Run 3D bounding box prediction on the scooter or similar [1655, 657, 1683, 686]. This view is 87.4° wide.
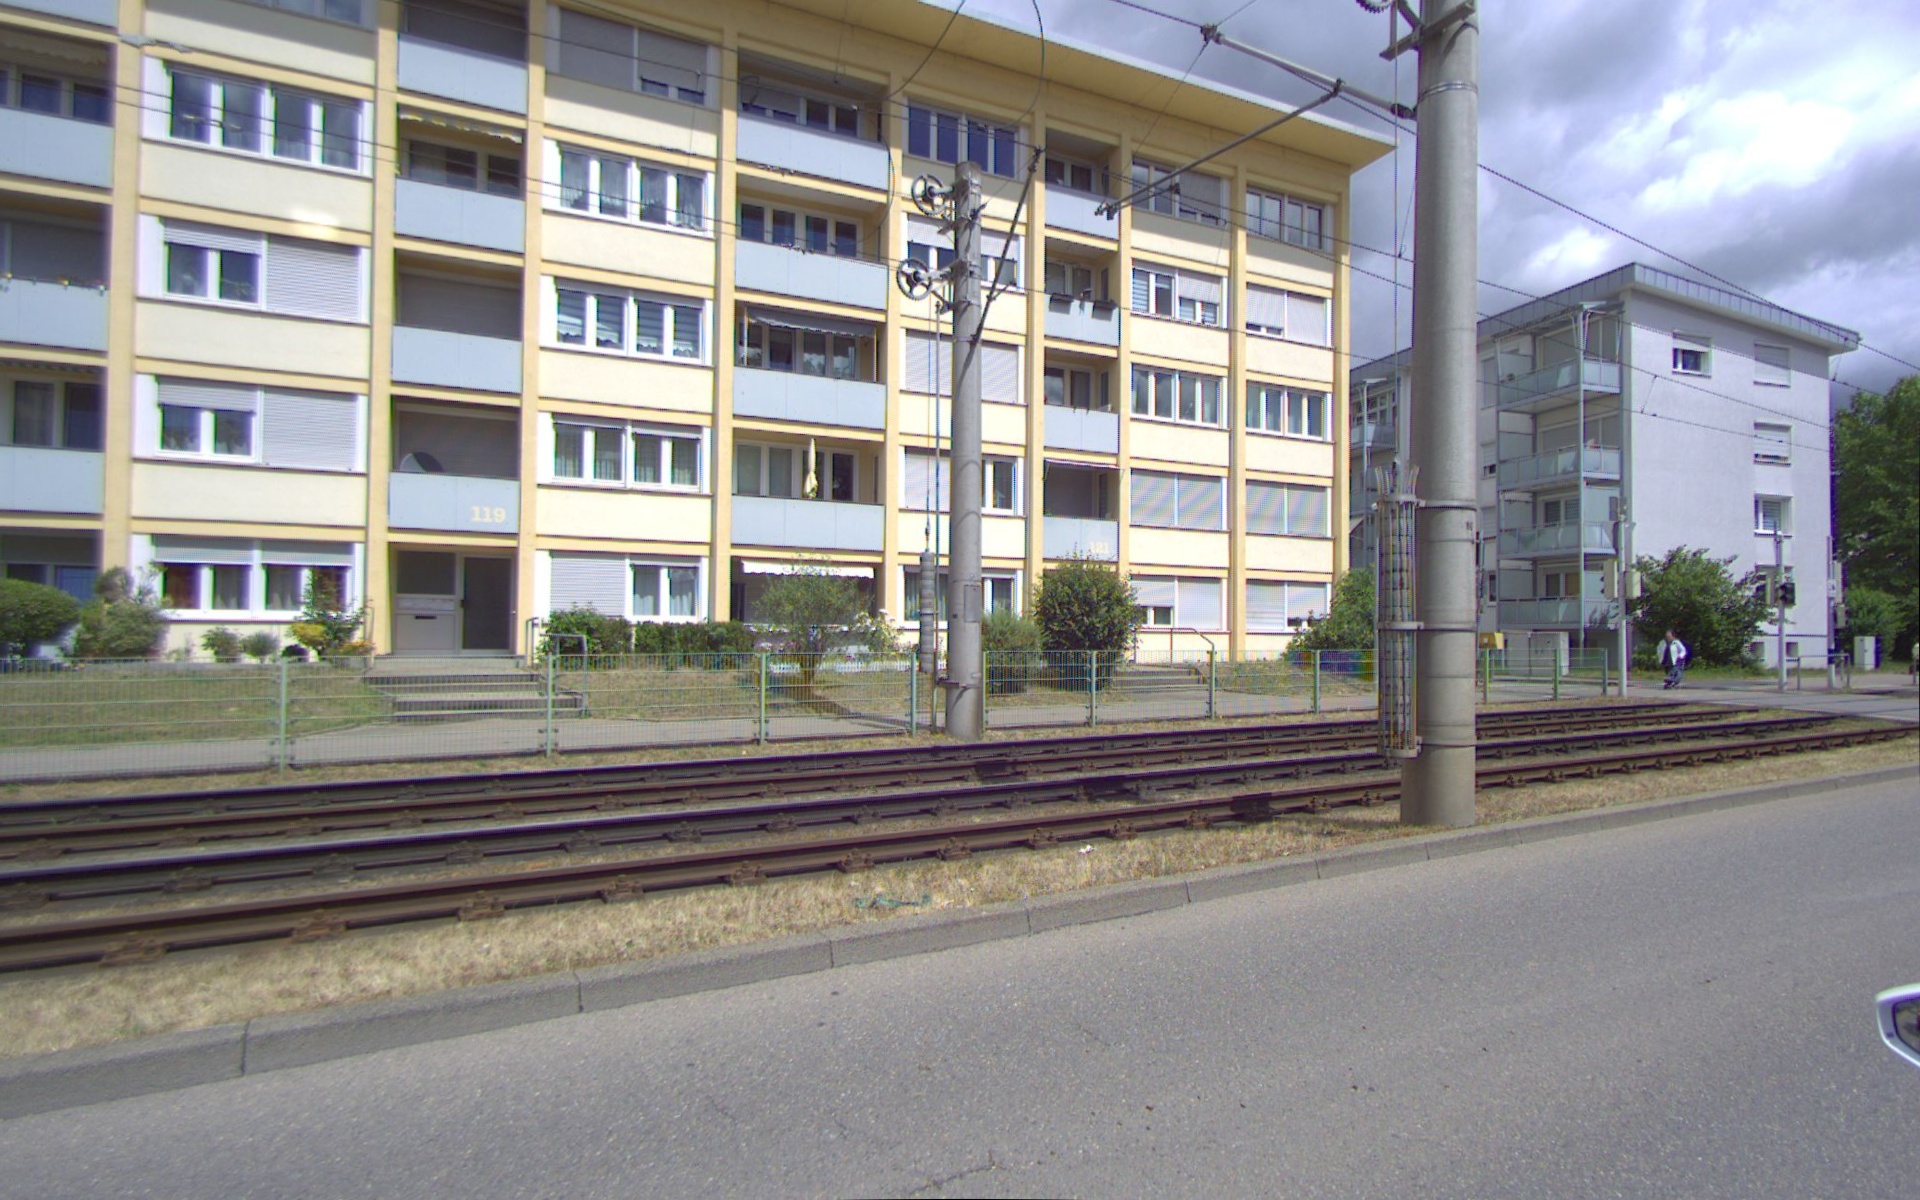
[{"bbox_3d":[19.163,1.925,27.160,0.468,0.757,0.436,1,-1,-25],"label":"scooter or similar"}]

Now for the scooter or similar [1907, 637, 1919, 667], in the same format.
[{"bbox_3d":[34.777,1.872,36.484,0.678,1.071,0.337,1,-1,-27],"label":"scooter or similar"}]

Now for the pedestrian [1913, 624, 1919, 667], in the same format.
[{"bbox_3d":[35.293,1.666,36.839,0.550,1.557,0.347,1,-1,-27],"label":"pedestrian"}]

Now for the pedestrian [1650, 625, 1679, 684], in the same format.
[{"bbox_3d":[19.351,1.499,27.595,0.468,1.602,0.436,2,1,-25],"label":"pedestrian"}]

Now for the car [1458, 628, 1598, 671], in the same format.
[{"bbox_3d":[19.697,1.687,34.993,1.873,1.363,3.980,1,-1,-22],"label":"car"}]
